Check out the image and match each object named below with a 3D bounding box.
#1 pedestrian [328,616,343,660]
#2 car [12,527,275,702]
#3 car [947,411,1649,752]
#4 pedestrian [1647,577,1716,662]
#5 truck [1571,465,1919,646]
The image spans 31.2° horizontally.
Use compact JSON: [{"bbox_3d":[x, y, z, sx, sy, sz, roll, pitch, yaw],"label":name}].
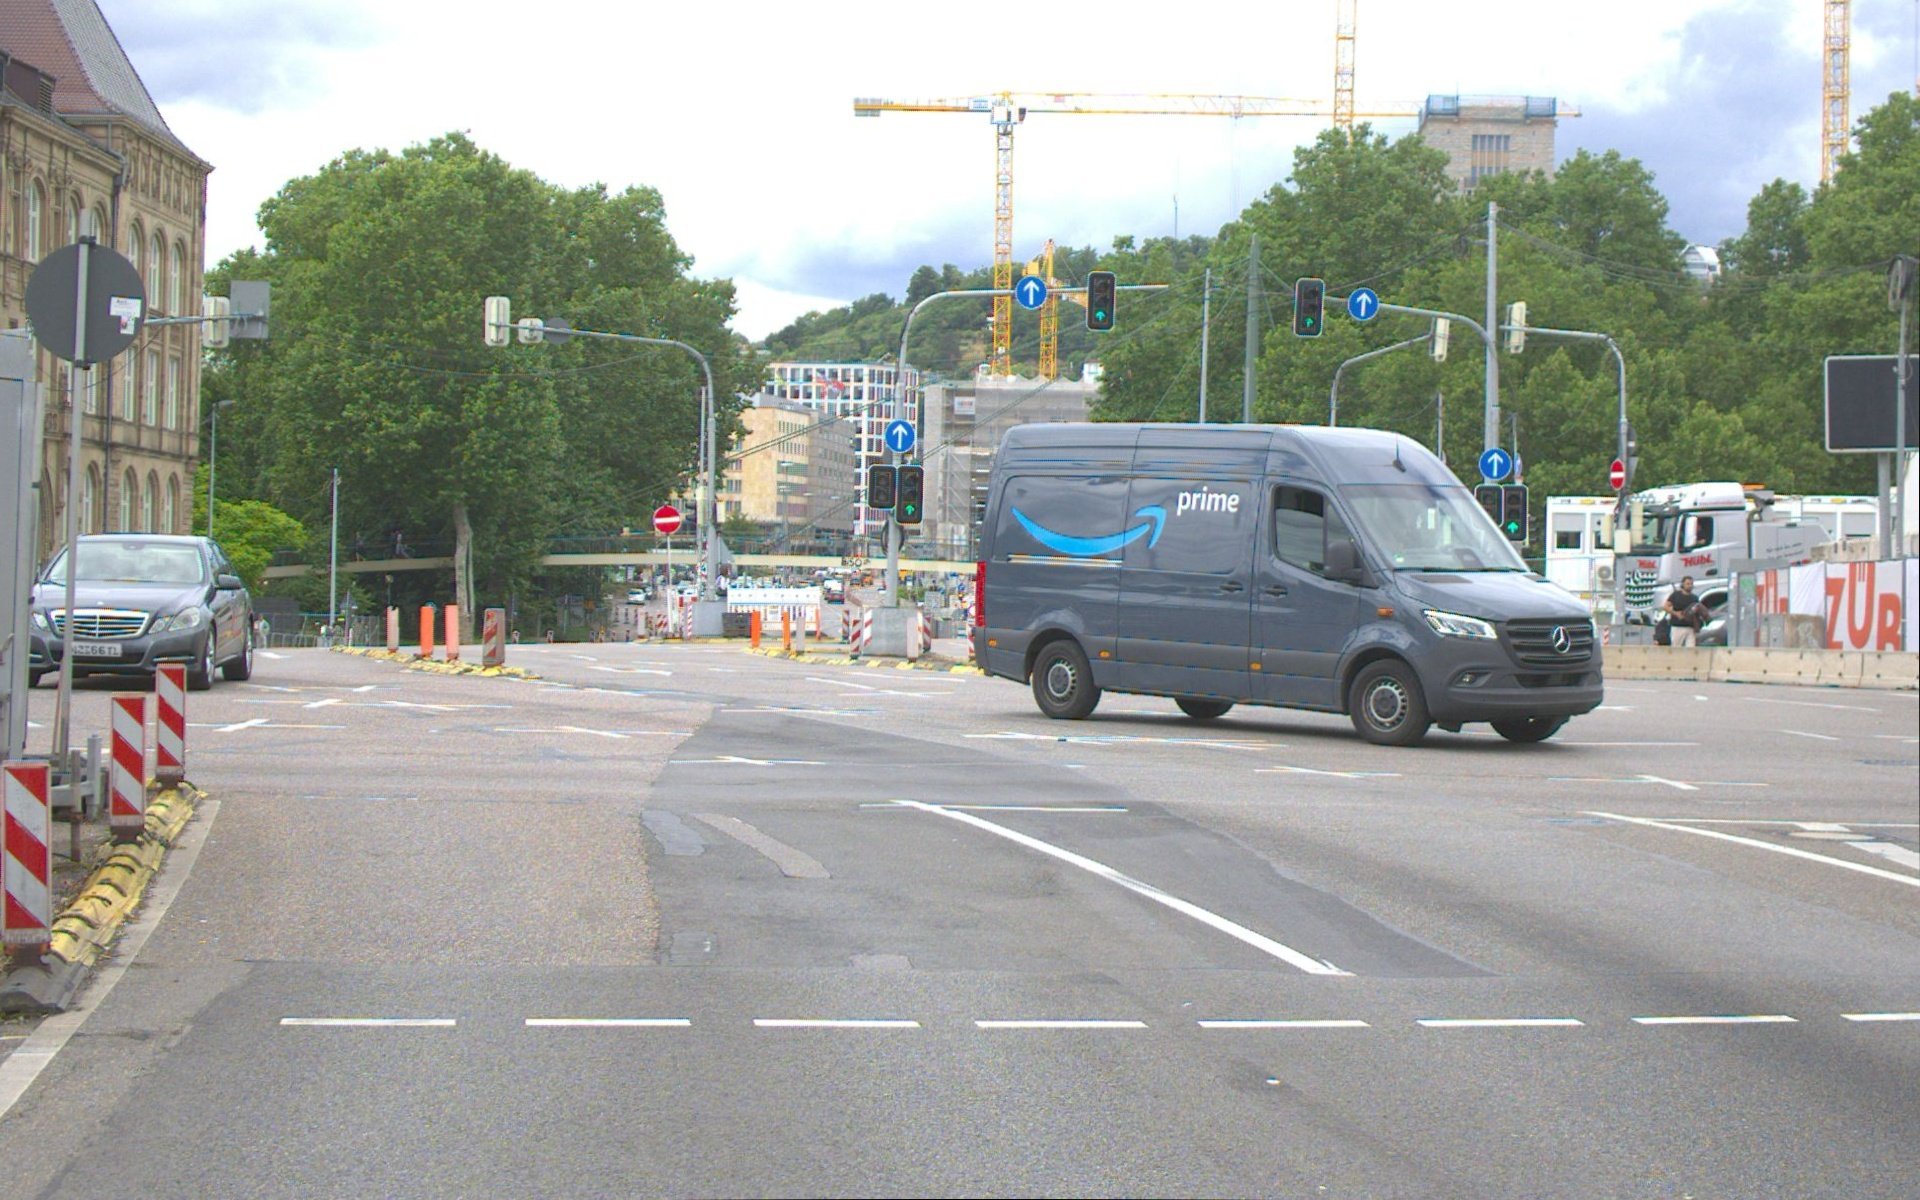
[{"bbox_3d":[-28.804,1.763,158.588,0.524,2.007,0.567,1,1,0],"label":"pedestrian"},{"bbox_3d":[-7.640,0.091,32.530,1.706,1.508,4.289,1,1,-4],"label":"car"},{"bbox_3d":[2.686,-0.225,28.942,2.058,2.585,6.011,0,1,-42],"label":"car"},{"bbox_3d":[11.965,0.322,57.041,0.796,1.373,0.905,1,1,-11],"label":"pedestrian"},{"bbox_3d":[21.353,-1.000,81.996,13.022,4.027,3.952,1,1,-20],"label":"truck"}]
